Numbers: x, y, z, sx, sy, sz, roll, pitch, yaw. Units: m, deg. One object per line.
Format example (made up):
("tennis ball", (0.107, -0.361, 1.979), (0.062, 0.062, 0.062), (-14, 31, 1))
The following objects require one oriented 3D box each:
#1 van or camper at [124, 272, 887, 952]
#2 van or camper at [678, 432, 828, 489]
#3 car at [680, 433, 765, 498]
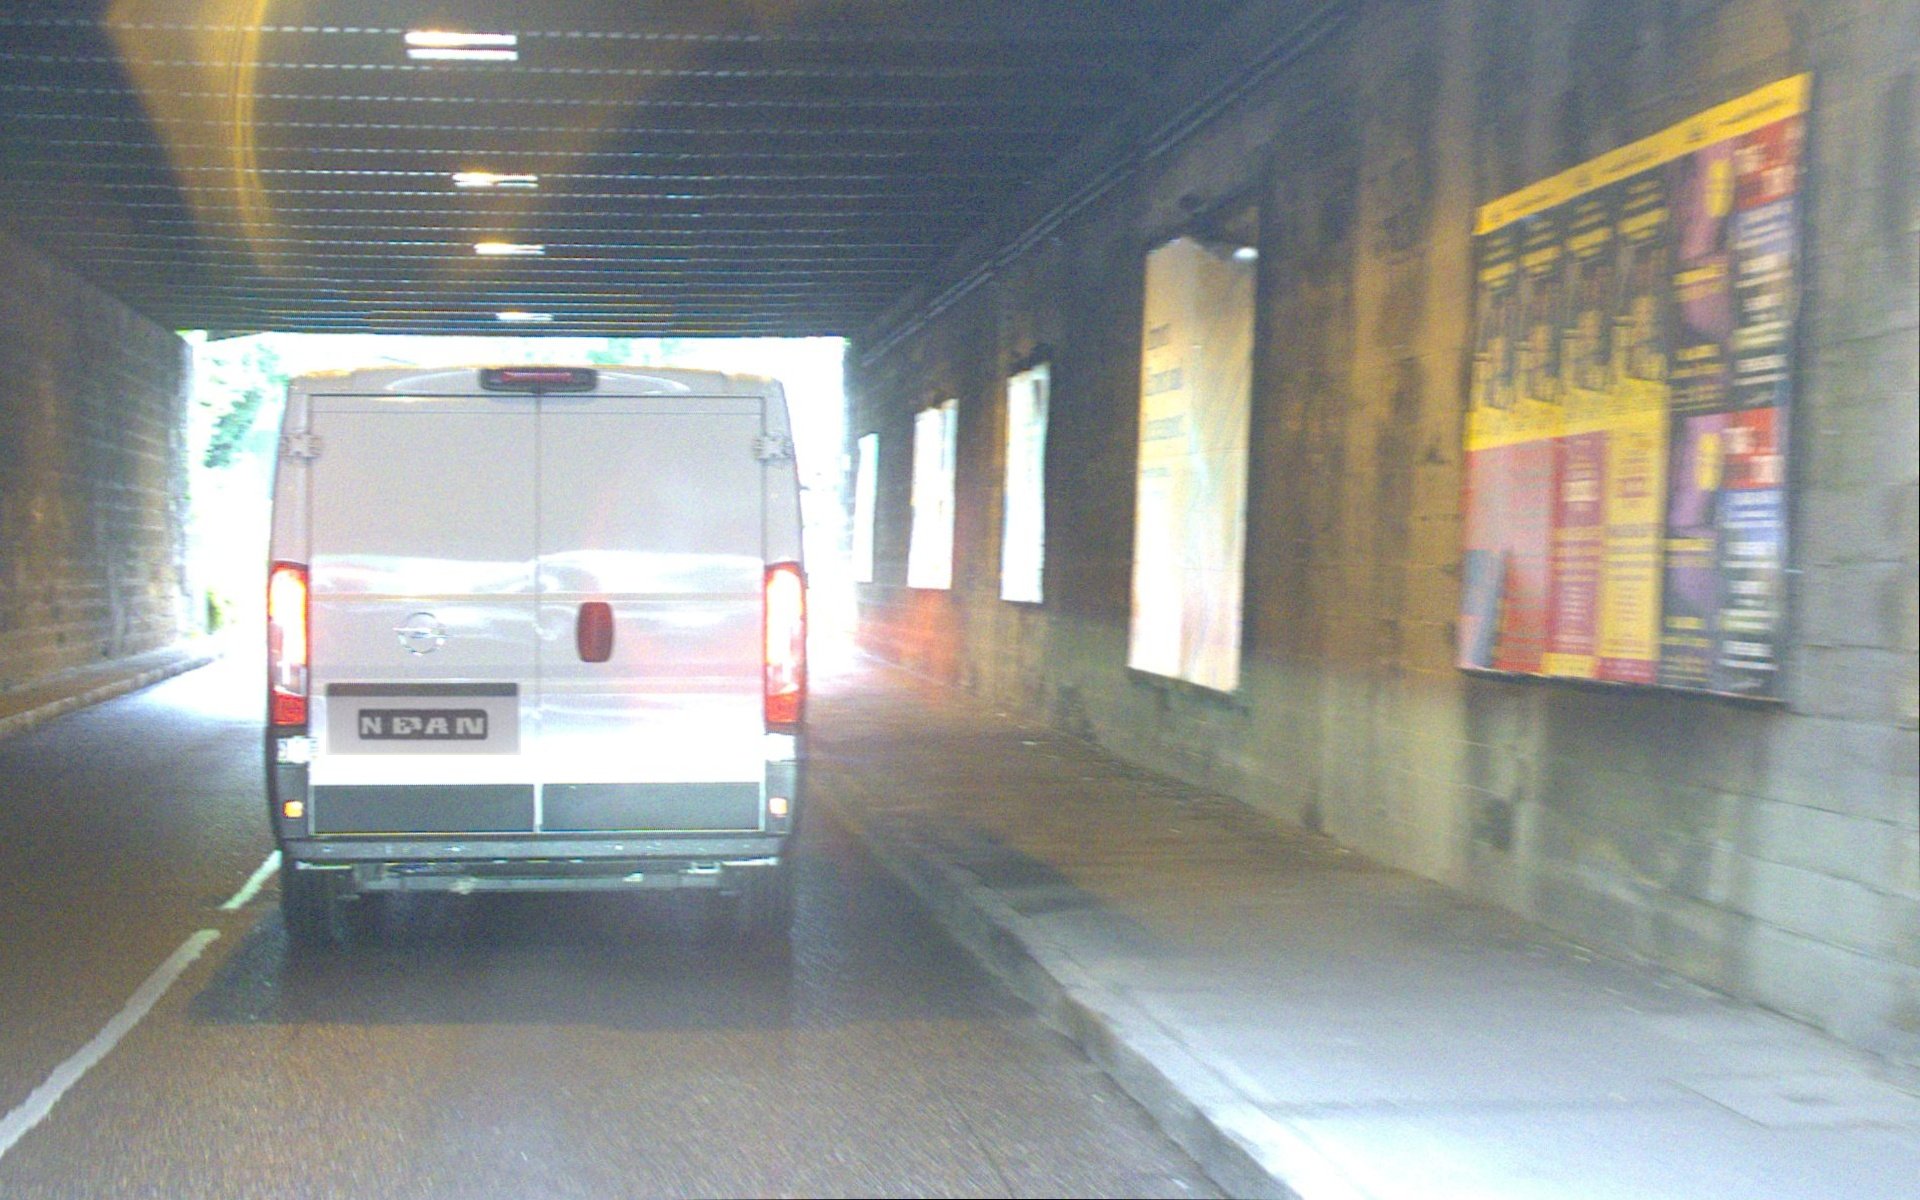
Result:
("van or camper", (-1.880, 0.071, 14.760), (2.698, 2.408, 4.904), (0, -1, -6))
("van or camper", (-7.515, -5.071, 125.118), (5.308, 2.007, 2.078), (1, 1, 0))
("car", (-7.345, -4.115, 105.823), (1.993, 1.941, 4.001), (0, 1, -13))
